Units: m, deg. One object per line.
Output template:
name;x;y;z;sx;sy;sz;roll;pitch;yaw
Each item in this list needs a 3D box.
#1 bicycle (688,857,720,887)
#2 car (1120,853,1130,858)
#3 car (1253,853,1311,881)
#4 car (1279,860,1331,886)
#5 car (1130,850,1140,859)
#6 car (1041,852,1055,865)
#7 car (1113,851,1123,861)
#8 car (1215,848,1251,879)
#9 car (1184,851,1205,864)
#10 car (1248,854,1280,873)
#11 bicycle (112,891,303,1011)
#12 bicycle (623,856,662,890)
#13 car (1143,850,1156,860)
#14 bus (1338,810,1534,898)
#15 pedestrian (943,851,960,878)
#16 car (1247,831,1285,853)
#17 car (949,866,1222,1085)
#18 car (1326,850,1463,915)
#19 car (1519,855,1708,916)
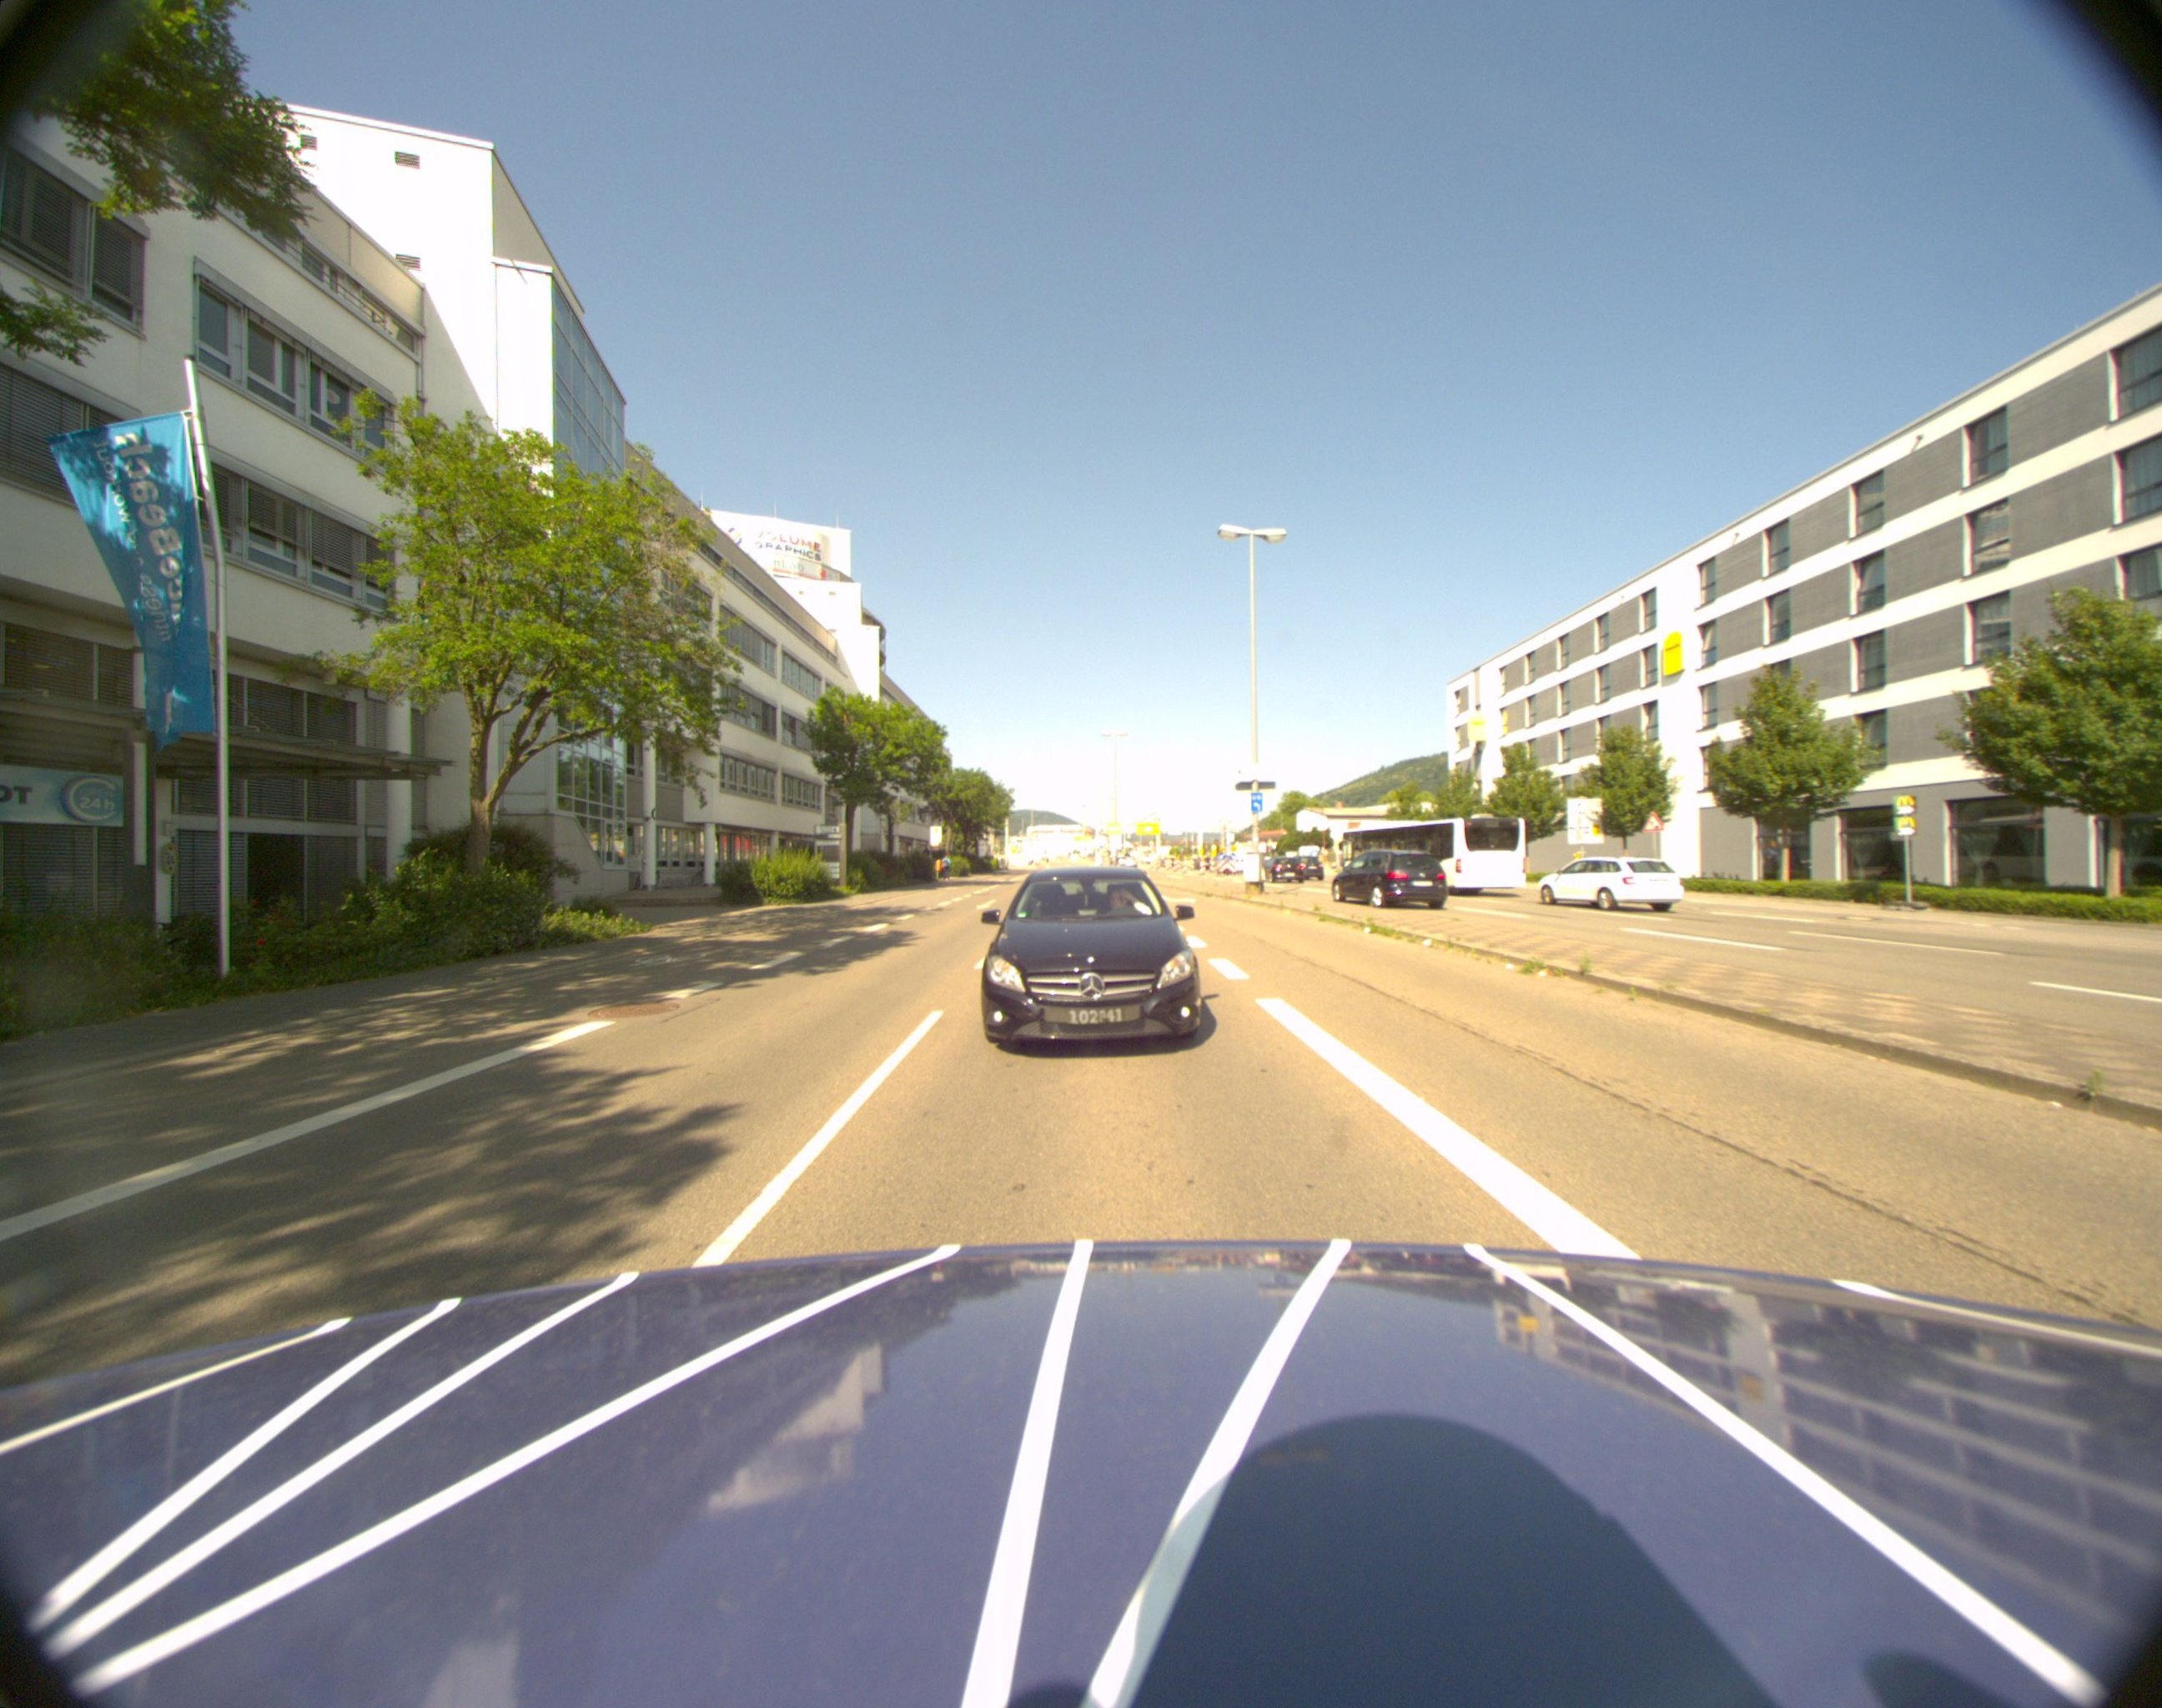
bicycle;-17.719;0.821;35.735;0.506;1.346;1.884;-1;0;1
car;10.735;0.365;185.971;1.815;1.328;3.937;-3;0;-3
car;11.268;0.695;42.988;1.998;1.424;4.890;-1;0;0
car;14.389;1.190;49.127;1.998;1.514;4.891;-1;0;1
car;11.941;0.127;168.781;1.999;2.002;3.999;-1;0;-1
car;-5.732;0.735;132.004;1.998;2.002;4.000;-2;1;2
car;7.834;0.476;162.429;1.998;2.002;3.999;-2;1;1
car;10.734;0.649;53.780;1.679;2.002;4.164;-2;1;1
car;14.744;0.431;98.938;1.998;1.514;4.891;-1;0;1
car;16.208;0.820;67.489;1.719;1.609;3.590;-1;0;-5
bicycle;-11.283;1.190;9.921;0.506;1.321;1.883;0;0;-8
bicycle;-18.060;0.773;31.338;0.506;1.346;1.884;-1;0;1
car;12.554;0.156;140.002;1.998;1.702;4.892;-1;-1;1
bus;14.599;-0.044;32.902;2.745;3.061;11.974;1;0;0
pedestrian;-9.193;0.747;53.909;0.942;1.875;1.289;2;1;0
car;13.722;-0.893;56.630;1.764;1.443;3.999;-2;1;0
car;0.054;0.890;7.694;1.905;1.431;4.693;-1;0;1
car;8.562;0.721;21.201;1.891;1.608;4.133;-1;0;-4
car;14.836;0.815;21.534;1.999;1.477;4.410;0;1;-5
